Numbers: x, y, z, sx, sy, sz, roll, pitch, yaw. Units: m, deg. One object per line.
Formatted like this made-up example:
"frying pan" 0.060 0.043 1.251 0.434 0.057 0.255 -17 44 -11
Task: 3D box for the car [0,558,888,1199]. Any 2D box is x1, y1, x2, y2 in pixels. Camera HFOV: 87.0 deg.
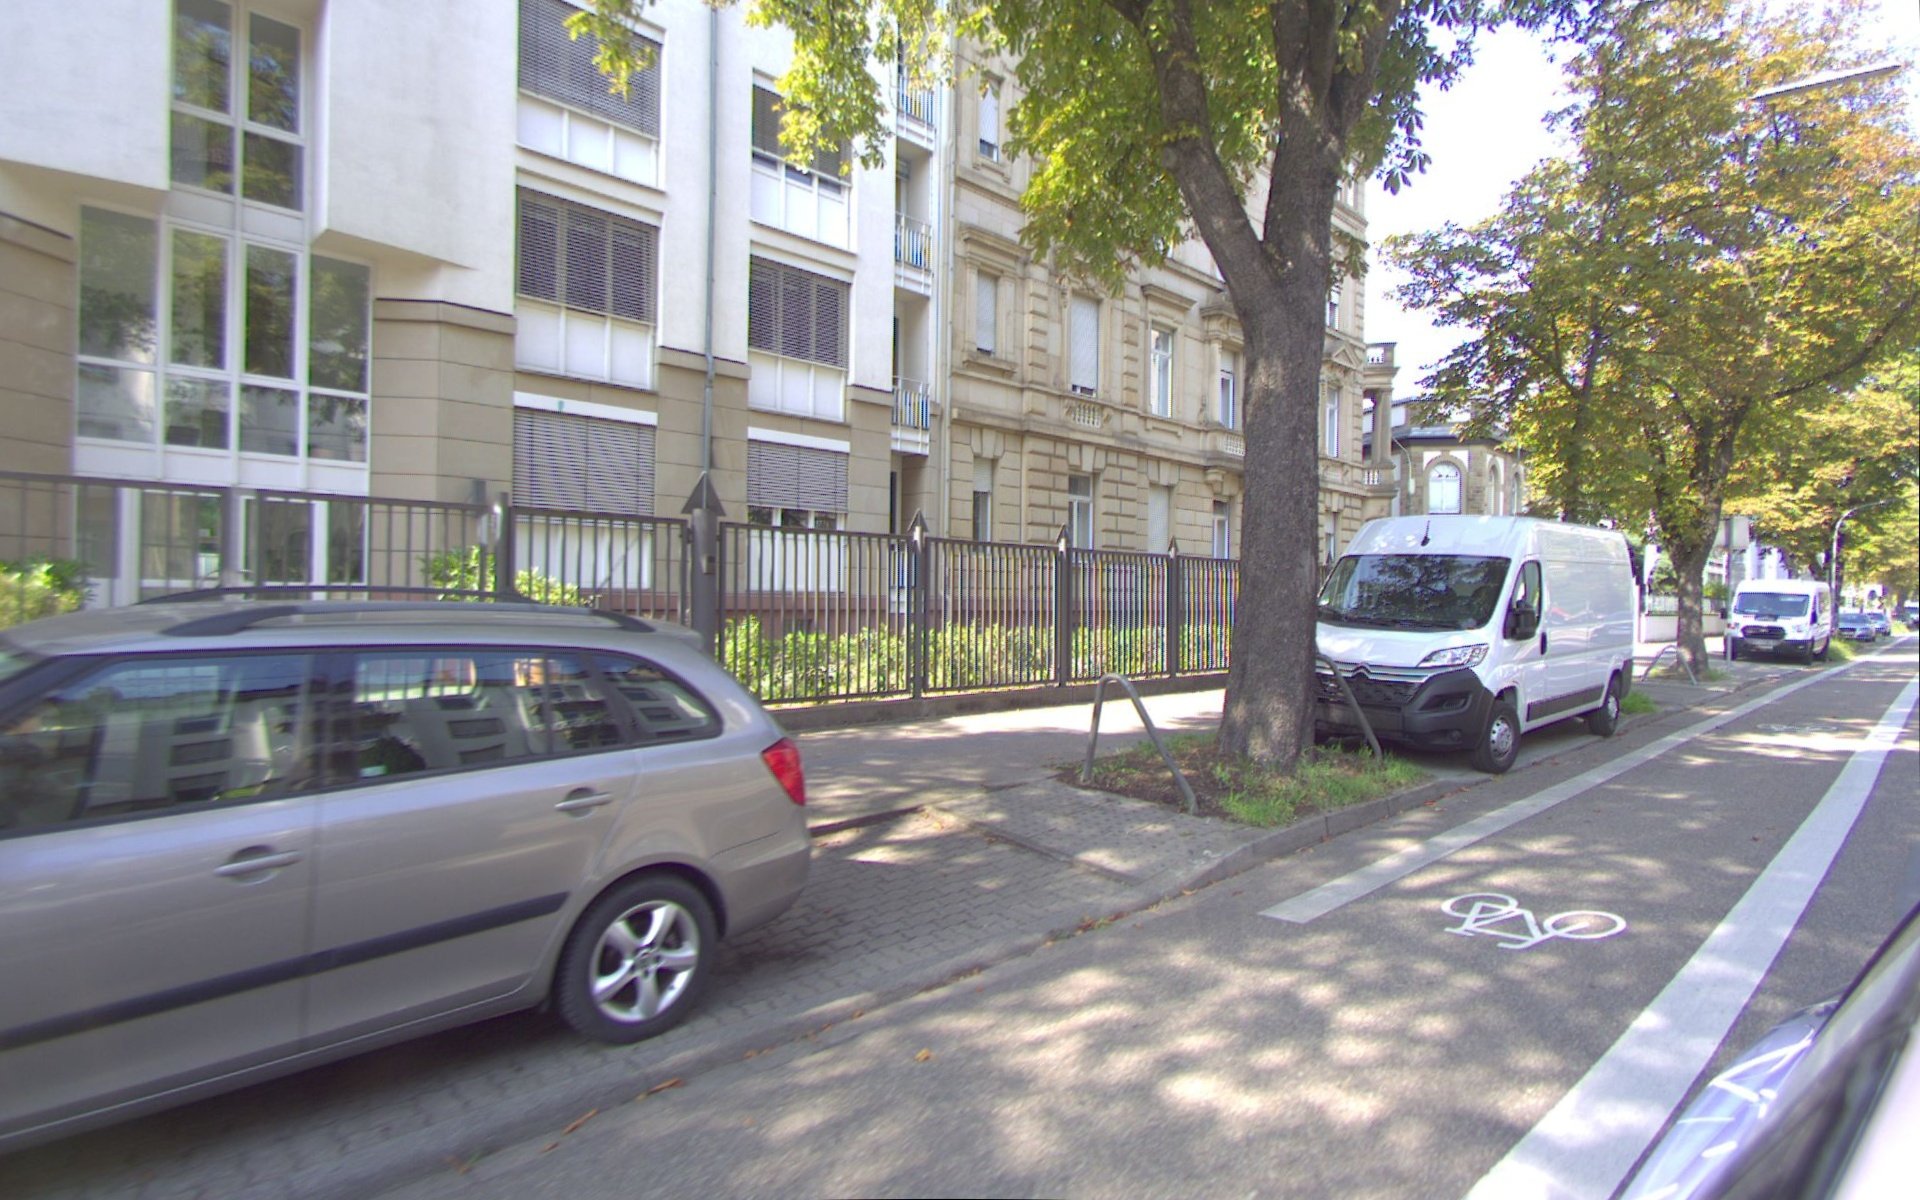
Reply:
"car" -2.410 0.684 3.255 4.286 1.542 1.609 0 4 -44

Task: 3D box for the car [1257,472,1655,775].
"car" 5.837 0.172 11.343 6.126 2.530 2.047 0 1 -44

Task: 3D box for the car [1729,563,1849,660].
"car" 24.682 0.297 30.029 5.770 2.572 1.996 0 2 -44

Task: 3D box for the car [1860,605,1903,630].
"car" 53.889 1.014 59.167 1.753 1.374 3.727 1 1 44

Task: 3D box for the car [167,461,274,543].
"car" -28.175 -3.655 38.759 1.958 2.689 4.990 0 0 -20

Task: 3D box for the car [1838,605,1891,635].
"car" 44.435 0.969 49.705 1.753 1.374 3.727 1 1 44
